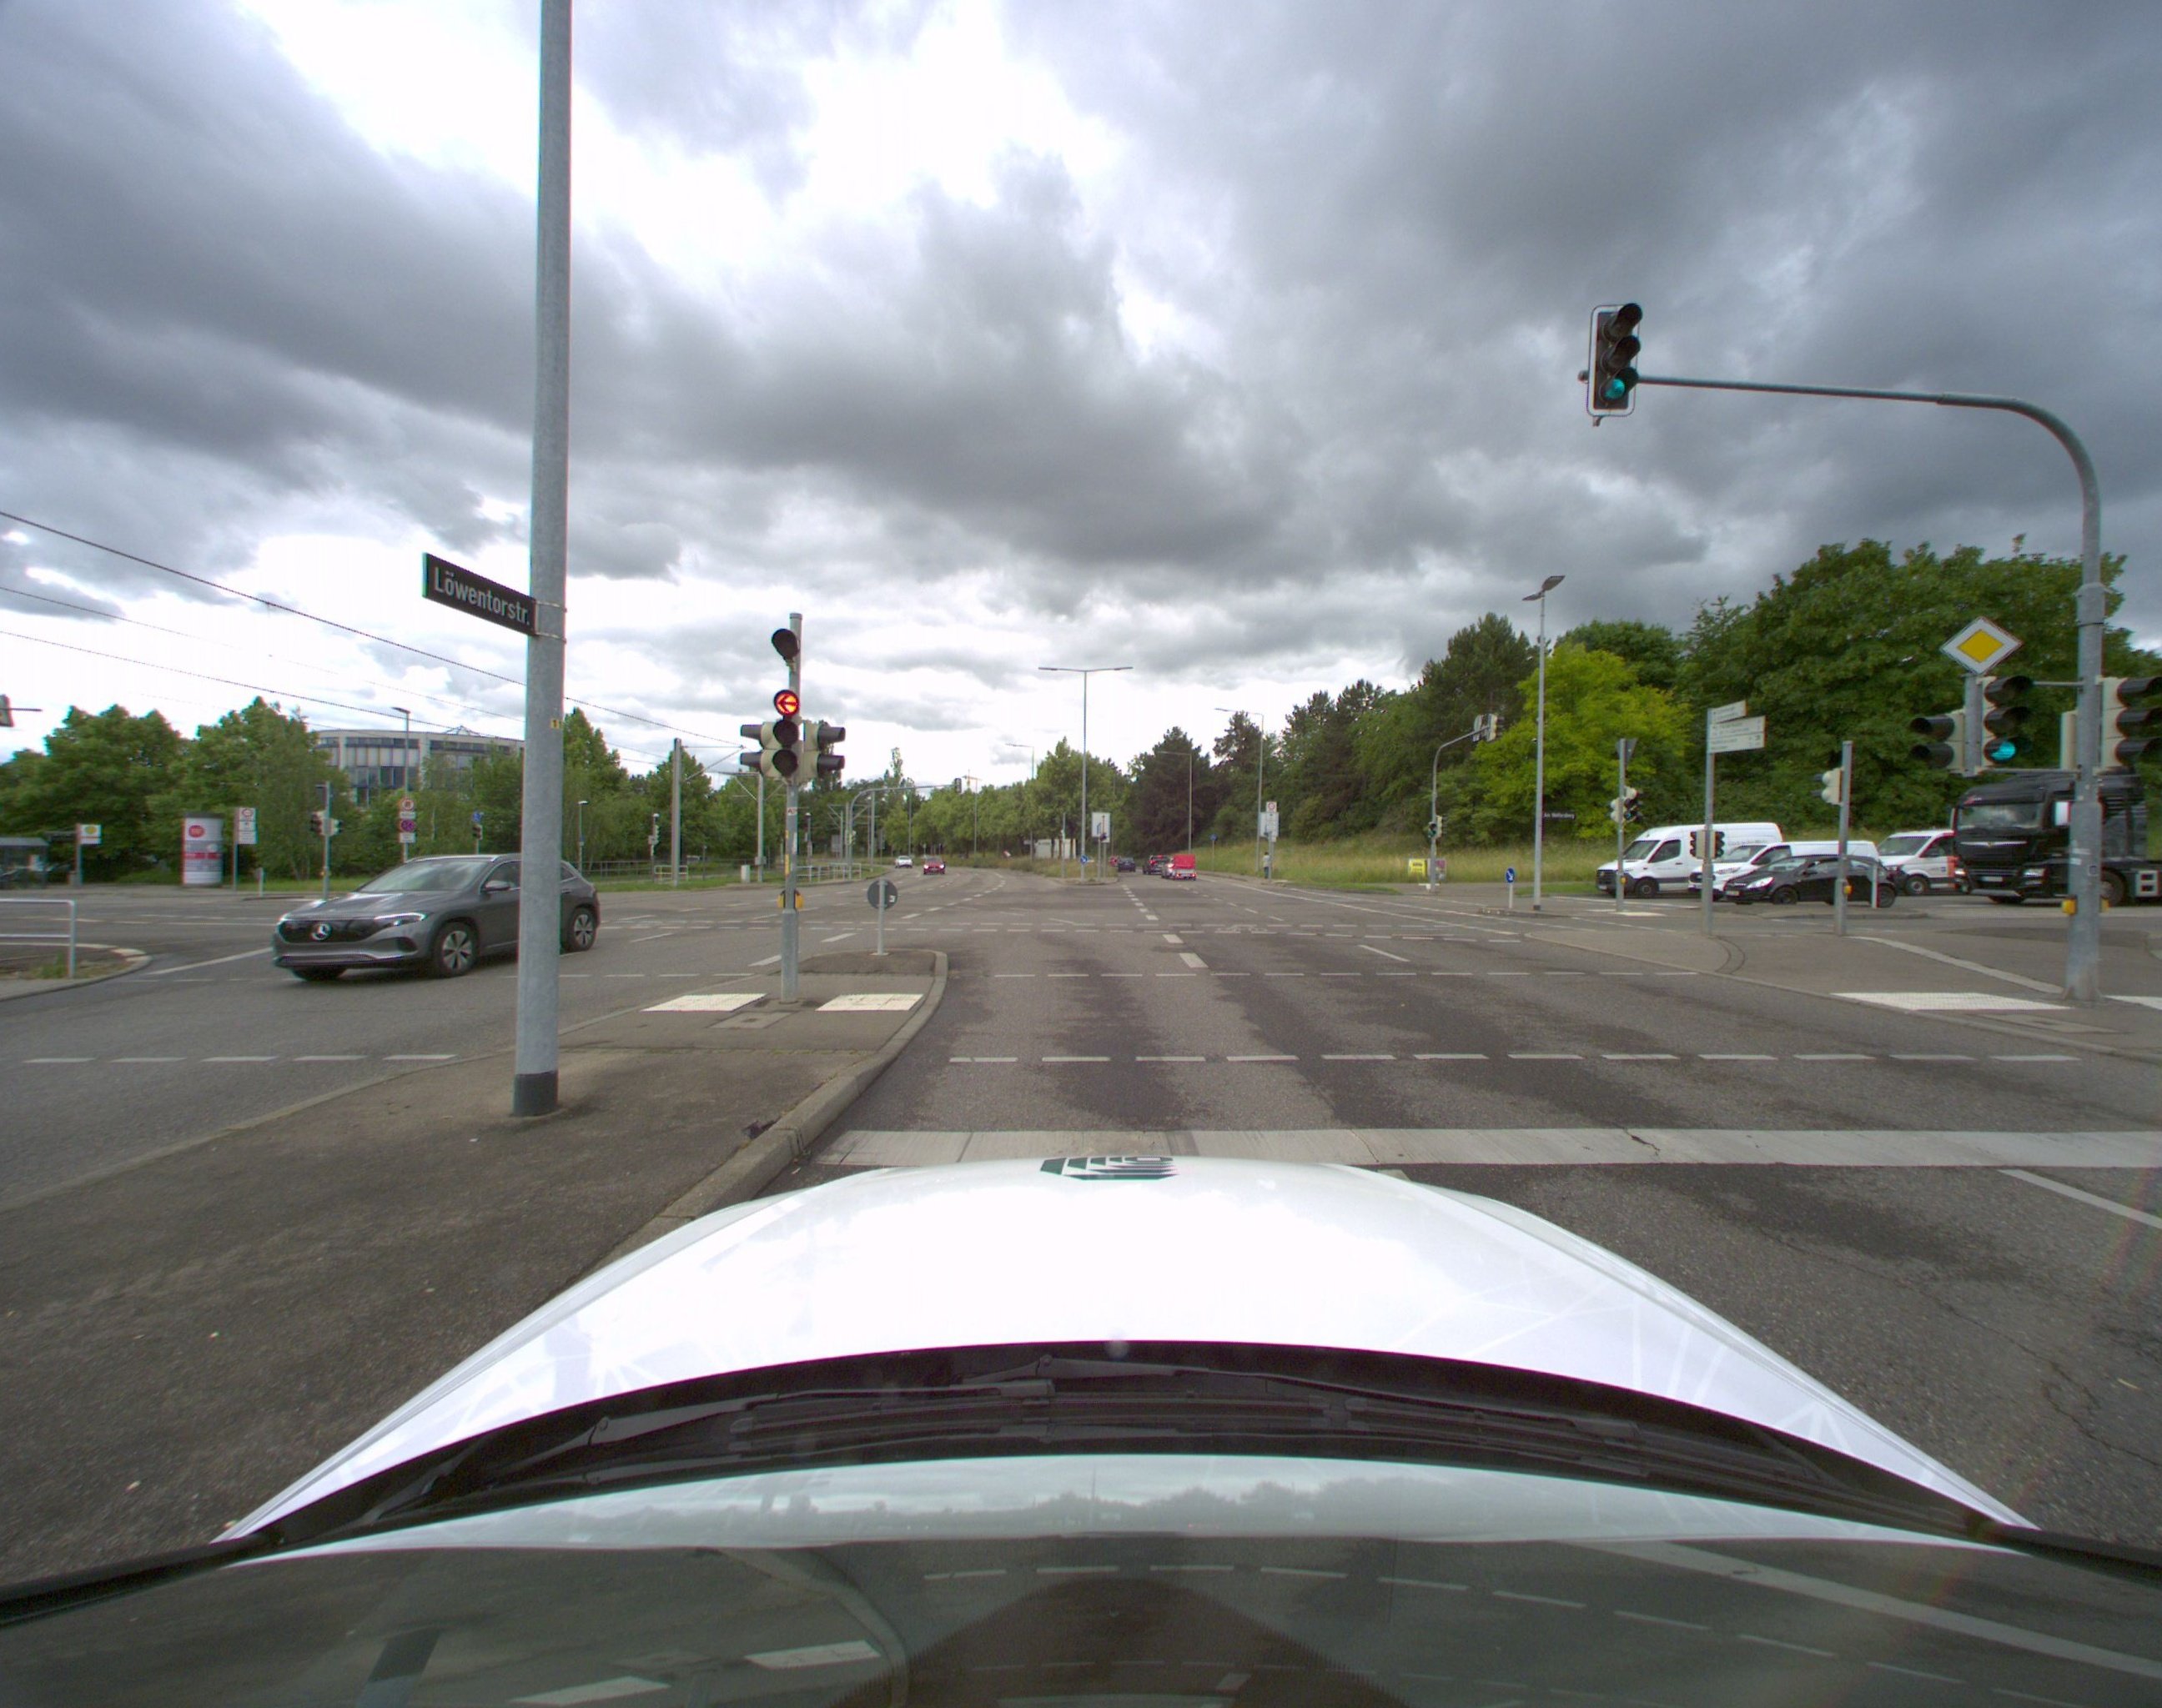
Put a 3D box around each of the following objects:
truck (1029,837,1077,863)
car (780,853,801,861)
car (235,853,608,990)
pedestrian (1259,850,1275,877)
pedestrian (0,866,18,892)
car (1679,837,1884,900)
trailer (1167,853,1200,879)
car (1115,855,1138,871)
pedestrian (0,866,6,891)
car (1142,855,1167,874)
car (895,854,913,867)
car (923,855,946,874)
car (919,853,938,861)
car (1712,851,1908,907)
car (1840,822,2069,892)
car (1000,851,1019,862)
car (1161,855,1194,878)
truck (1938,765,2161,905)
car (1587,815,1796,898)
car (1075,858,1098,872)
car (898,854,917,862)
[{"bbox_3d":[-3.924,-0.488,109.462,2.751,3.328,11.322,-1,0,-22],"label":"truck"},{"bbox_3d":[-62.394,0.623,174.998,3.976,1.546,1.793,0,0,22],"label":"car"},{"bbox_3d":[-8.860,0.781,11.530,1.772,1.546,4.225,0,0,1],"label":"car"},{"bbox_3d":[11.386,0.593,49.787,0.811,1.627,0.791,0,0,1],"label":"pedestrian"},{"bbox_3d":[-56.474,1.298,42.678,0.774,1.304,0.666,0,0,15],"label":"pedestrian"},{"bbox_3d":[22.514,0.441,26.321,4.836,1.896,2.034,-1,0,1],"label":"car"},{"bbox_3d":[6.494,0.749,51.823,1.759,1.616,3.044,0,0,0],"label":"trailer"},{"bbox_3d":[4.451,0.843,80.182,1.775,1.546,4.019,0,0,-4],"label":"car"},{"bbox_3d":[-57.770,1.303,43.180,0.774,1.303,0.666,0,0,15],"label":"pedestrian"},{"bbox_3d":[6.176,0.840,68.432,1.772,1.546,4.025,0,0,1],"label":"car"},{"bbox_3d":[-23.098,0.874,106.179,1.835,1.629,4.397,-1,0,-19],"label":"car"},{"bbox_3d":[-12.014,0.863,67.099,1.780,1.443,4.411,-1,0,-9],"label":"car"},{"bbox_3d":[-30.159,0.545,161.058,1.762,1.546,4.048,0,0,25],"label":"car"},{"bbox_3d":[20.275,0.669,22.771,3.905,1.436,1.732,-1,0,1],"label":"car"},{"bbox_3d":[30.678,0.109,28.762,5.677,2.289,2.136,-1,0,2],"label":"car"},{"bbox_3d":[-10.935,0.395,124.410,1.787,1.546,3.992,-1,0,-25],"label":"car"},{"bbox_3d":[6.523,0.826,55.564,1.772,1.421,4.459,0,0,1],"label":"car"},{"bbox_3d":[27.930,-0.515,22.268,6.027,3.538,2.729,-1,0,2],"label":"truck"},{"bbox_3d":[21.893,0.095,29.408,5.870,2.781,2.136,-1,0,2],"label":"car"},{"bbox_3d":[0.615,1.276,94.284,1.780,1.546,4.006,-1,0,-13],"label":"car"},{"bbox_3d":[-33.145,0.816,155.817,1.794,1.546,3.975,-1,0,-43],"label":"car"}]
